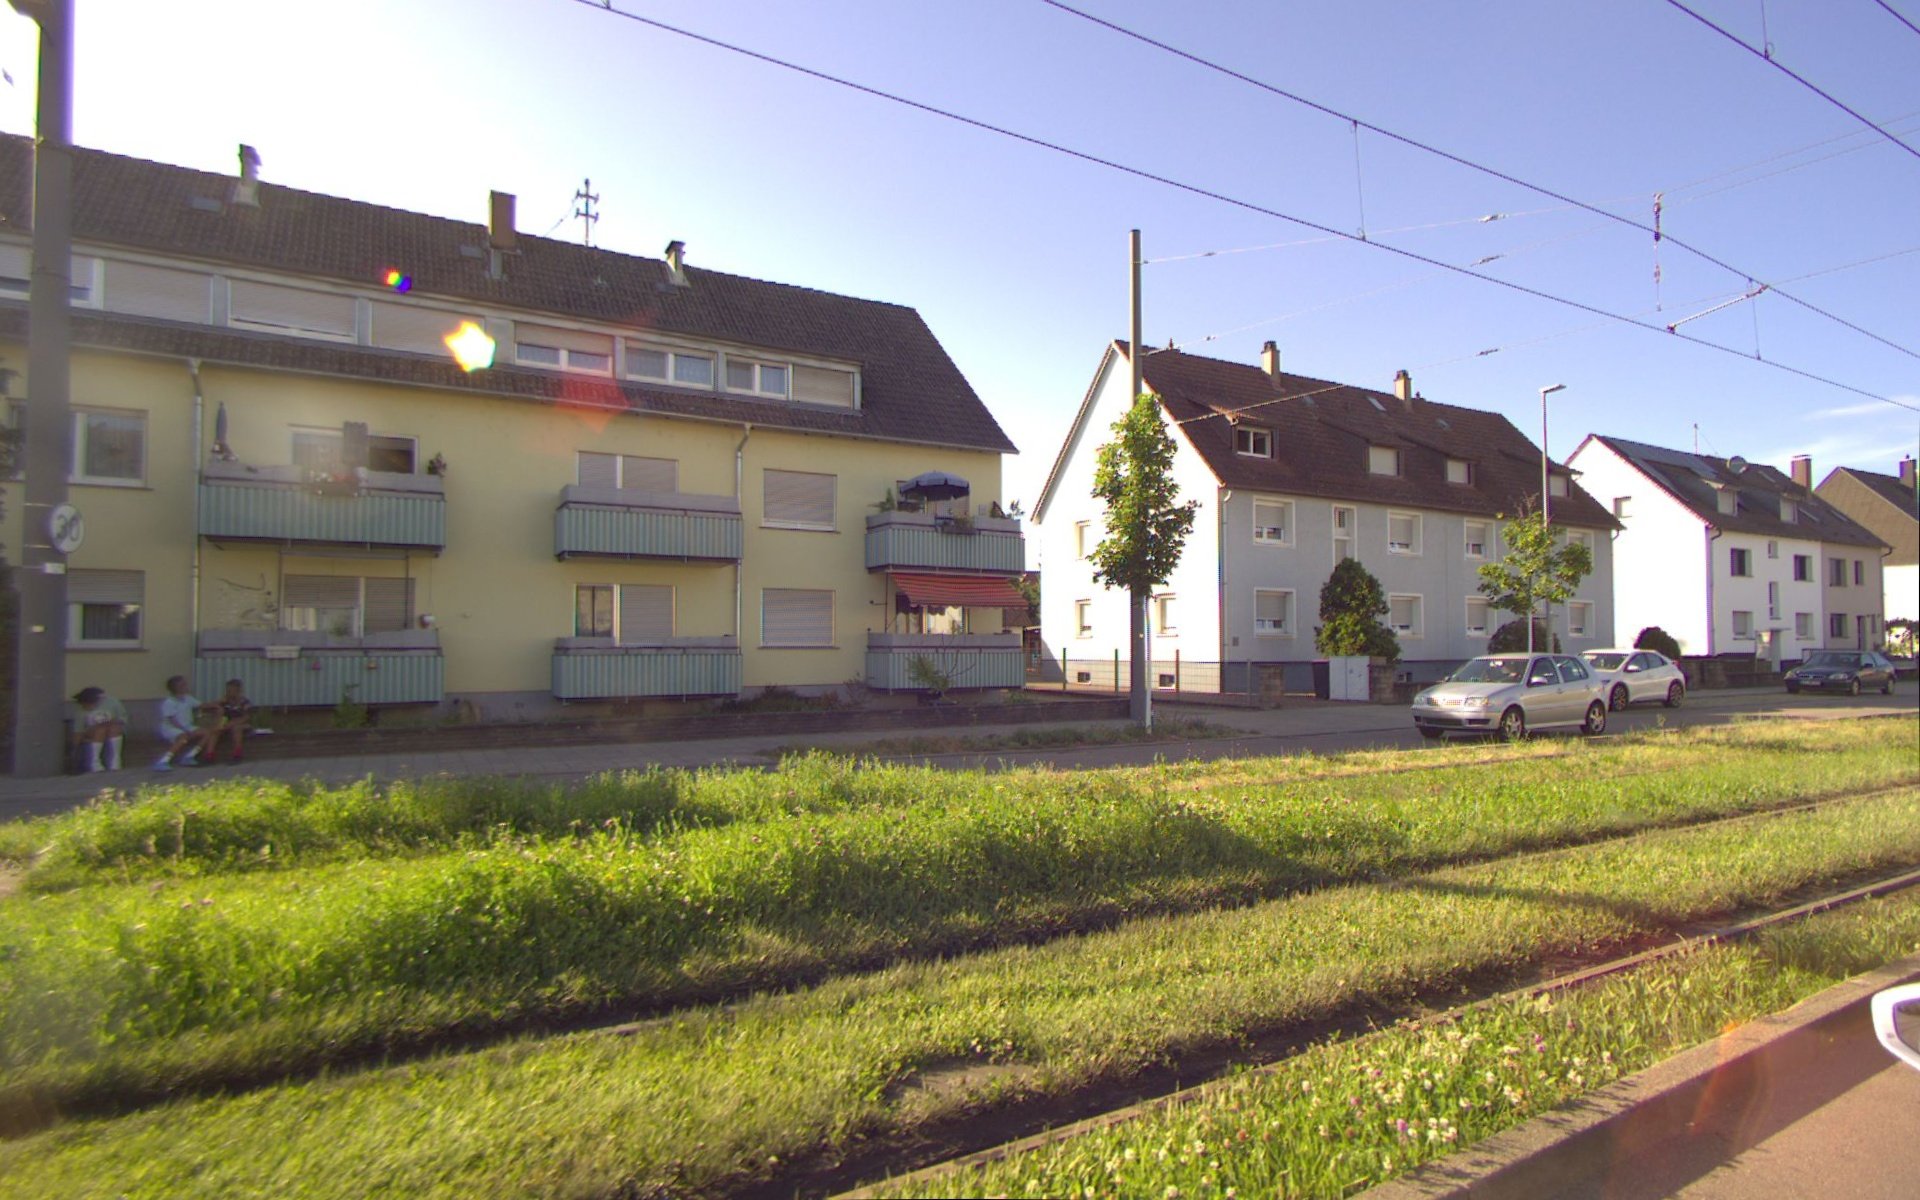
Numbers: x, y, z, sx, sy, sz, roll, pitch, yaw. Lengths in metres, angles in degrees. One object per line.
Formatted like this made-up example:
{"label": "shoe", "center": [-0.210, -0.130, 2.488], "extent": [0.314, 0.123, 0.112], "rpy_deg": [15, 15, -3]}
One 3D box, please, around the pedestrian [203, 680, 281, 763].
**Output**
{"label": "pedestrian", "center": [-9.467, 1.584, 13.247], "extent": [0.712, 1.019, 0.593], "rpy_deg": [-1, -4, 37]}

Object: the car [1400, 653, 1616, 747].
{"label": "car", "center": [9.405, 1.640, 17.212], "extent": [3.614, 1.430, 1.544], "rpy_deg": [1, -3, -29]}

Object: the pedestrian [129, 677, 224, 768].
{"label": "pedestrian", "center": [-9.994, 1.542, 12.817], "extent": [0.805, 1.078, 0.626], "rpy_deg": [0, -4, 28]}

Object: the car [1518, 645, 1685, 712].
{"label": "car", "center": [15.907, 1.883, 24.878], "extent": [4.162, 1.537, 1.686], "rpy_deg": [1, -3, -29]}

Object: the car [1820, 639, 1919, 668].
{"label": "car", "center": [55.710, 3.253, 61.609], "extent": [1.832, 1.676, 4.146], "rpy_deg": [1, -3, -25]}

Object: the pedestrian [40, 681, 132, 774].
{"label": "pedestrian", "center": [-10.673, 1.536, 12.292], "extent": [0.680, 1.060, 0.813], "rpy_deg": [2, -3, -32]}

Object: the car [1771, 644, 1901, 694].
{"label": "car", "center": [27.837, 2.157, 31.903], "extent": [4.115, 1.482, 1.783], "rpy_deg": [1, -3, -29]}
